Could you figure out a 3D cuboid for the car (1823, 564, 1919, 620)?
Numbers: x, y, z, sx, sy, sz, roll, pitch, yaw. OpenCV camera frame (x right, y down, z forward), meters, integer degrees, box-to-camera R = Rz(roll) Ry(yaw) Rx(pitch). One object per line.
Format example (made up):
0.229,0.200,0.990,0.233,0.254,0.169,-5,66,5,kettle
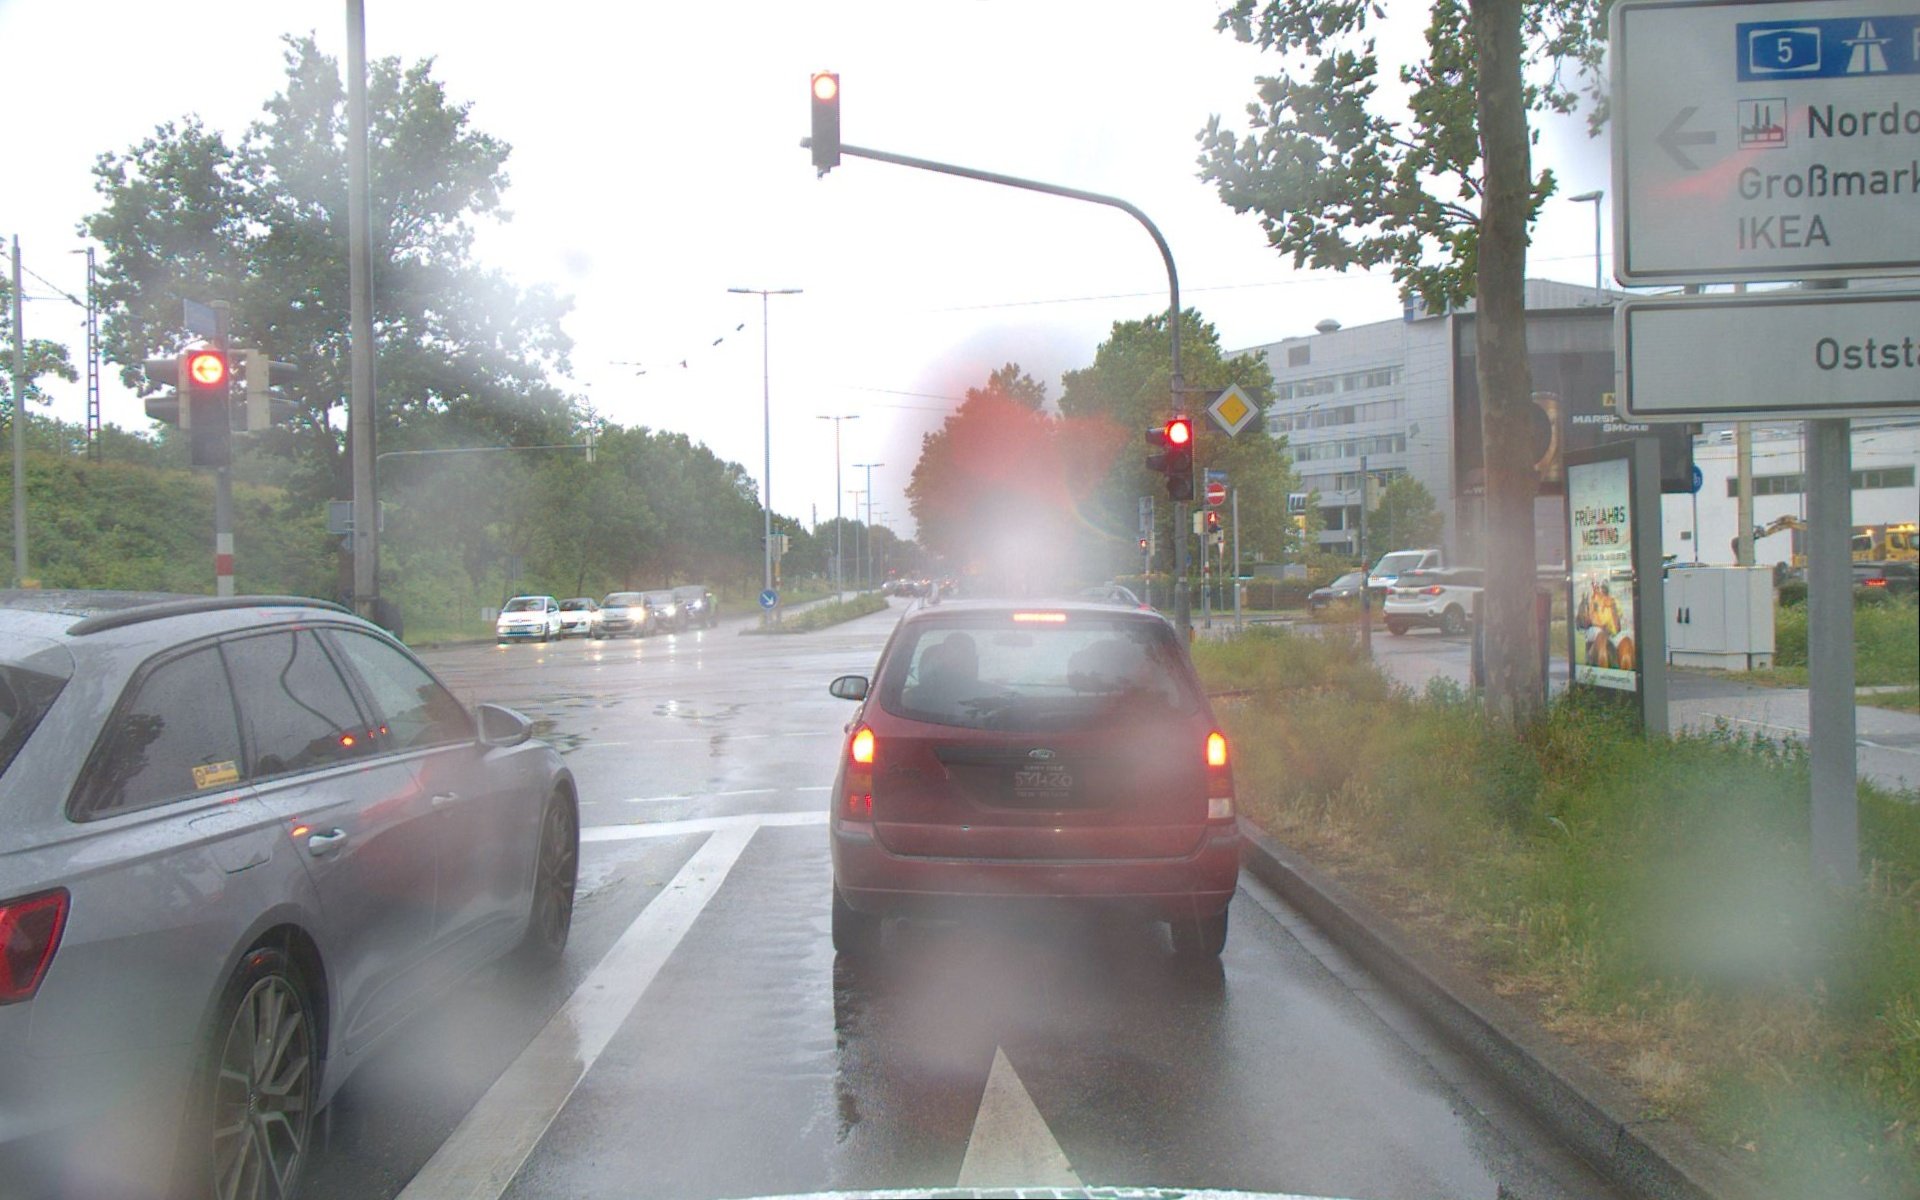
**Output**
27.566,-0.247,48.748,4.327,1.564,1.784,0,0,-30,car

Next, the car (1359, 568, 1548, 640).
11.365,0.076,38.032,4.008,1.547,1.980,-1,0,-30,car

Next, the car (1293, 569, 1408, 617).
13.647,-0.261,57.688,3.956,1.564,1.780,-1,0,-37,car

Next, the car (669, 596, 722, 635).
-11.242,0.649,70.521,1.678,1.556,3.999,-1,0,-1,car

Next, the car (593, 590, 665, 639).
-11.156,0.456,55.970,1.678,1.556,3.999,-1,0,-1,car

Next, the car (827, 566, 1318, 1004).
0.377,0.664,8.166,1.760,1.564,4.386,1,0,-1,car

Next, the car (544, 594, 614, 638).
-14.074,0.565,61.243,1.678,1.556,3.999,-1,0,-1,car

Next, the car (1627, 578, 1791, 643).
19.748,0.258,43.580,4.327,1.564,1.784,-1,0,-30,car

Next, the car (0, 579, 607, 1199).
-2.306,0.694,4.777,1.656,1.458,4.573,0,0,-1,car

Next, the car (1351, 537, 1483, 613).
14.926,-0.822,53.916,4.339,2.228,1.779,-4,2,-36,car

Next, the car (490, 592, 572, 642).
-14.143,0.521,54.741,1.678,1.556,3.999,-1,0,-1,car

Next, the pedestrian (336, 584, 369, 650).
-16.721,0.466,45.537,0.522,1.817,0.673,0,-1,16,pedestrian

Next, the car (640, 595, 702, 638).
-10.933,0.596,62.808,1.678,1.556,3.999,-1,0,-1,car

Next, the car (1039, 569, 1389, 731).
3.140,0.501,19.895,4.349,1.563,1.775,-4,3,-41,car

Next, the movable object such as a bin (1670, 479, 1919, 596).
52.453,-3.517,101.021,8.168,6.393,14.791,1,-1,-34,movable object such as a bin
